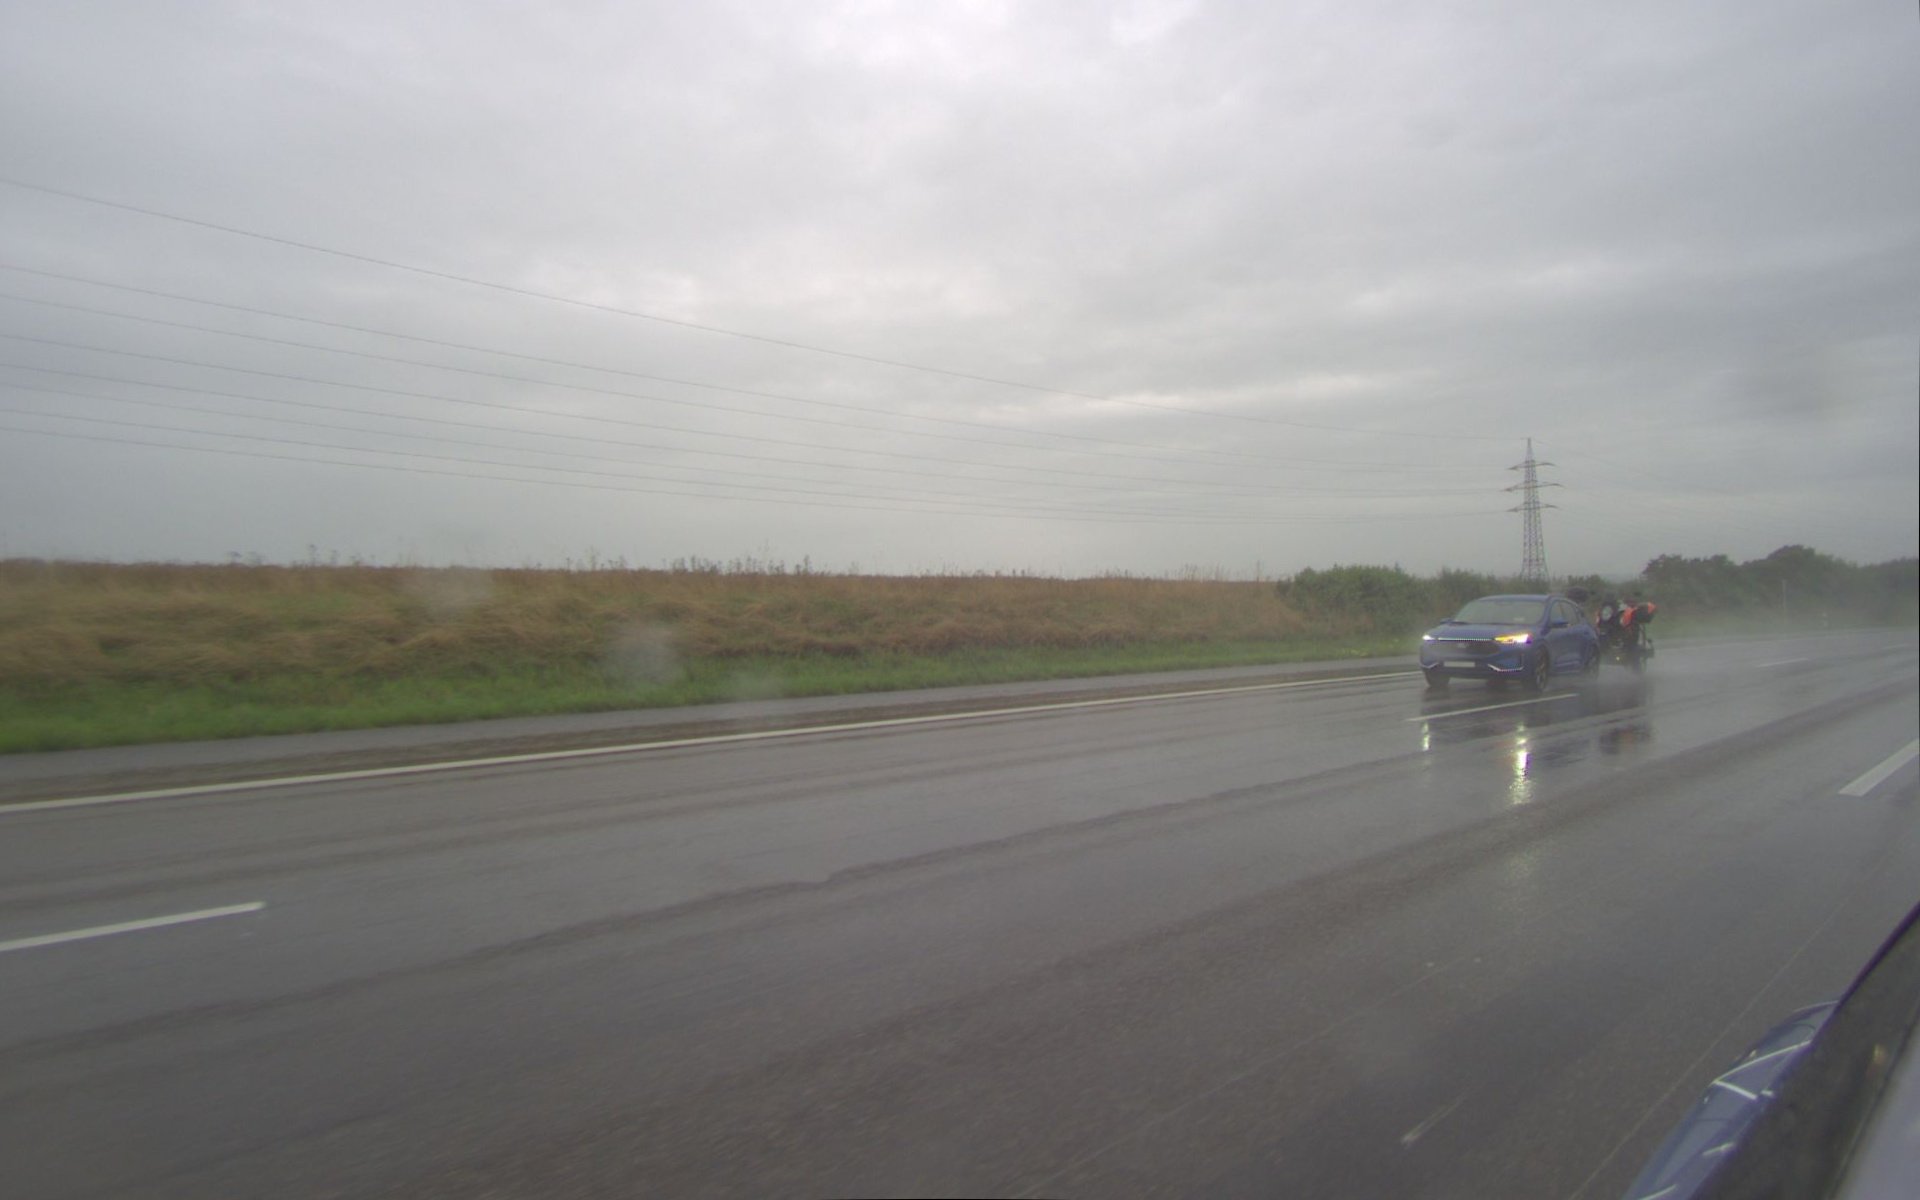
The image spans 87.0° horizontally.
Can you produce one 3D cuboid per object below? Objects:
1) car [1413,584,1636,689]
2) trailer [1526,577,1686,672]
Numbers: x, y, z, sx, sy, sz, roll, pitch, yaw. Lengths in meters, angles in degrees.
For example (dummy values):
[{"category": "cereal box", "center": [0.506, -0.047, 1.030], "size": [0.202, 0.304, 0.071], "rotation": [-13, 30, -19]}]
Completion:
[{"category": "car", "center": [10.292, 0.563, 18.272], "size": [4.905, 1.639, 1.997], "rotation": [0, 0, -41]}, {"category": "trailer", "center": [13.353, 0.457, 20.888], "size": [3.133, 1.807, 1.982], "rotation": [0, 0, -41]}]
